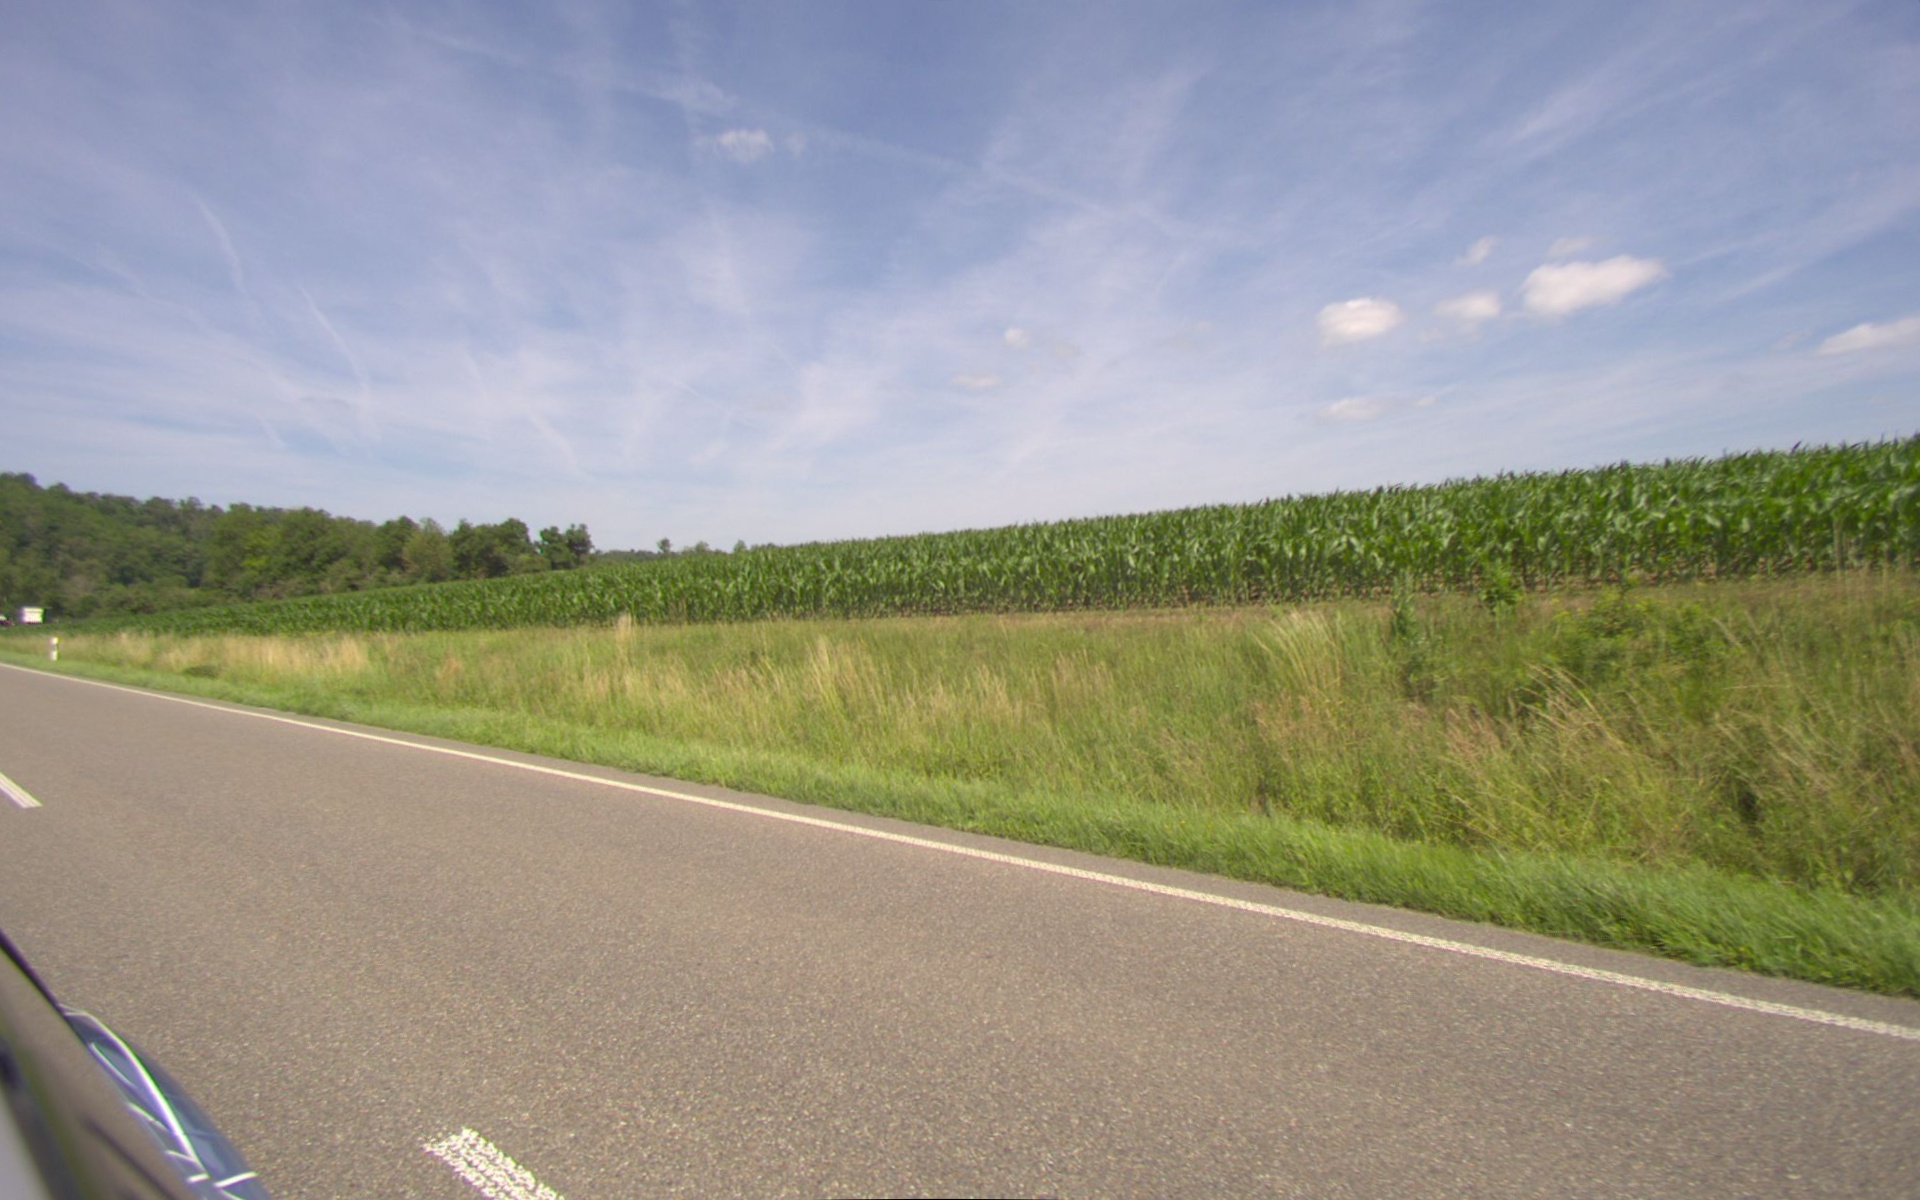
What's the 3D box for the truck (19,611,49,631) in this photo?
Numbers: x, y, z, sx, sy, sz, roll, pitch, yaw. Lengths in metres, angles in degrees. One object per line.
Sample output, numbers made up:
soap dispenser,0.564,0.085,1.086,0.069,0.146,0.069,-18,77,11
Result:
truck,-167.466,3.781,183.122,2.704,3.606,9.750,1,-1,-35
